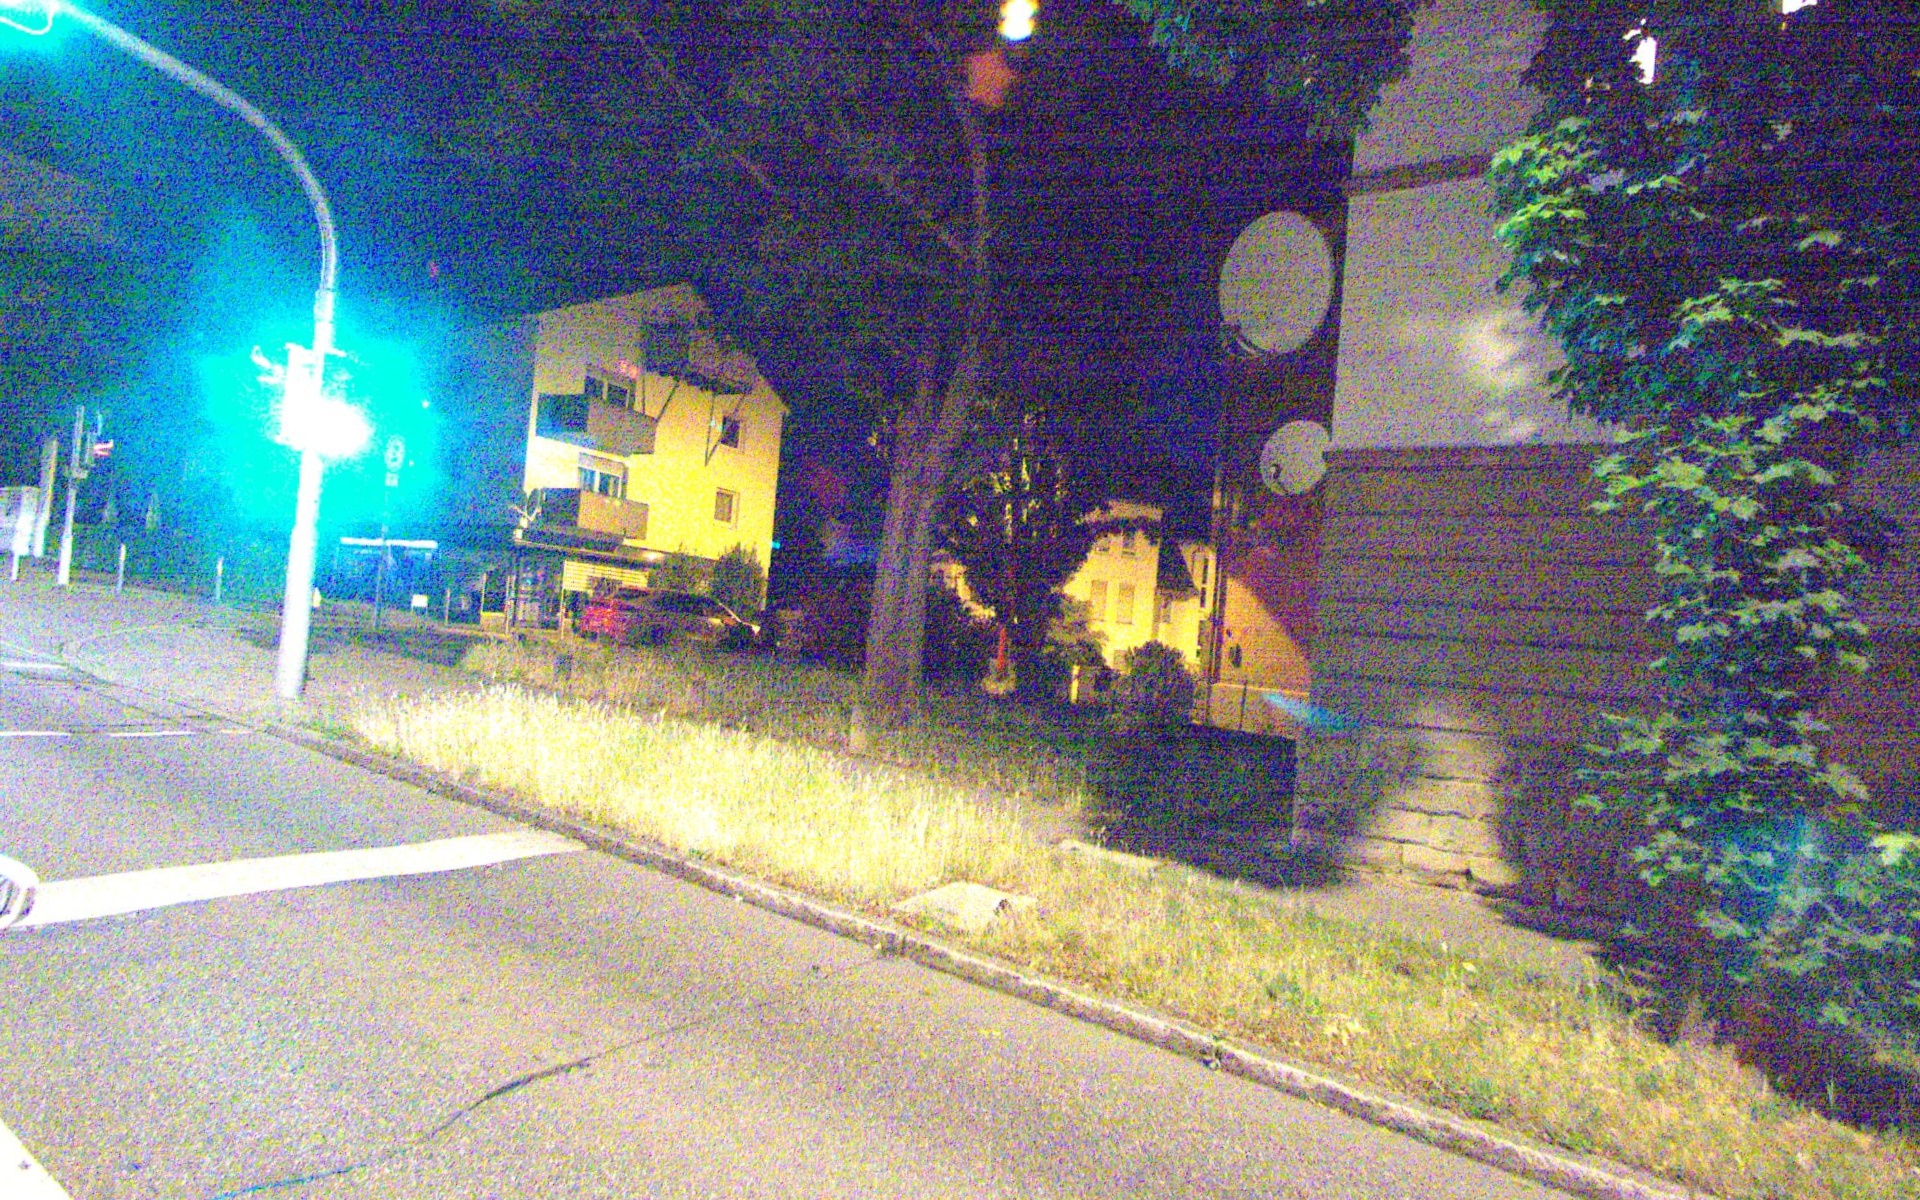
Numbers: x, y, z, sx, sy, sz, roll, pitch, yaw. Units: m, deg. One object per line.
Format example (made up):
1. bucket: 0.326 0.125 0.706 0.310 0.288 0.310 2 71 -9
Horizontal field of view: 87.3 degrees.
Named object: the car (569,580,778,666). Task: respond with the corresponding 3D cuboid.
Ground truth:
1. car: -6.507 0.585 23.294 1.778 1.577 4.366 3 -3 38
